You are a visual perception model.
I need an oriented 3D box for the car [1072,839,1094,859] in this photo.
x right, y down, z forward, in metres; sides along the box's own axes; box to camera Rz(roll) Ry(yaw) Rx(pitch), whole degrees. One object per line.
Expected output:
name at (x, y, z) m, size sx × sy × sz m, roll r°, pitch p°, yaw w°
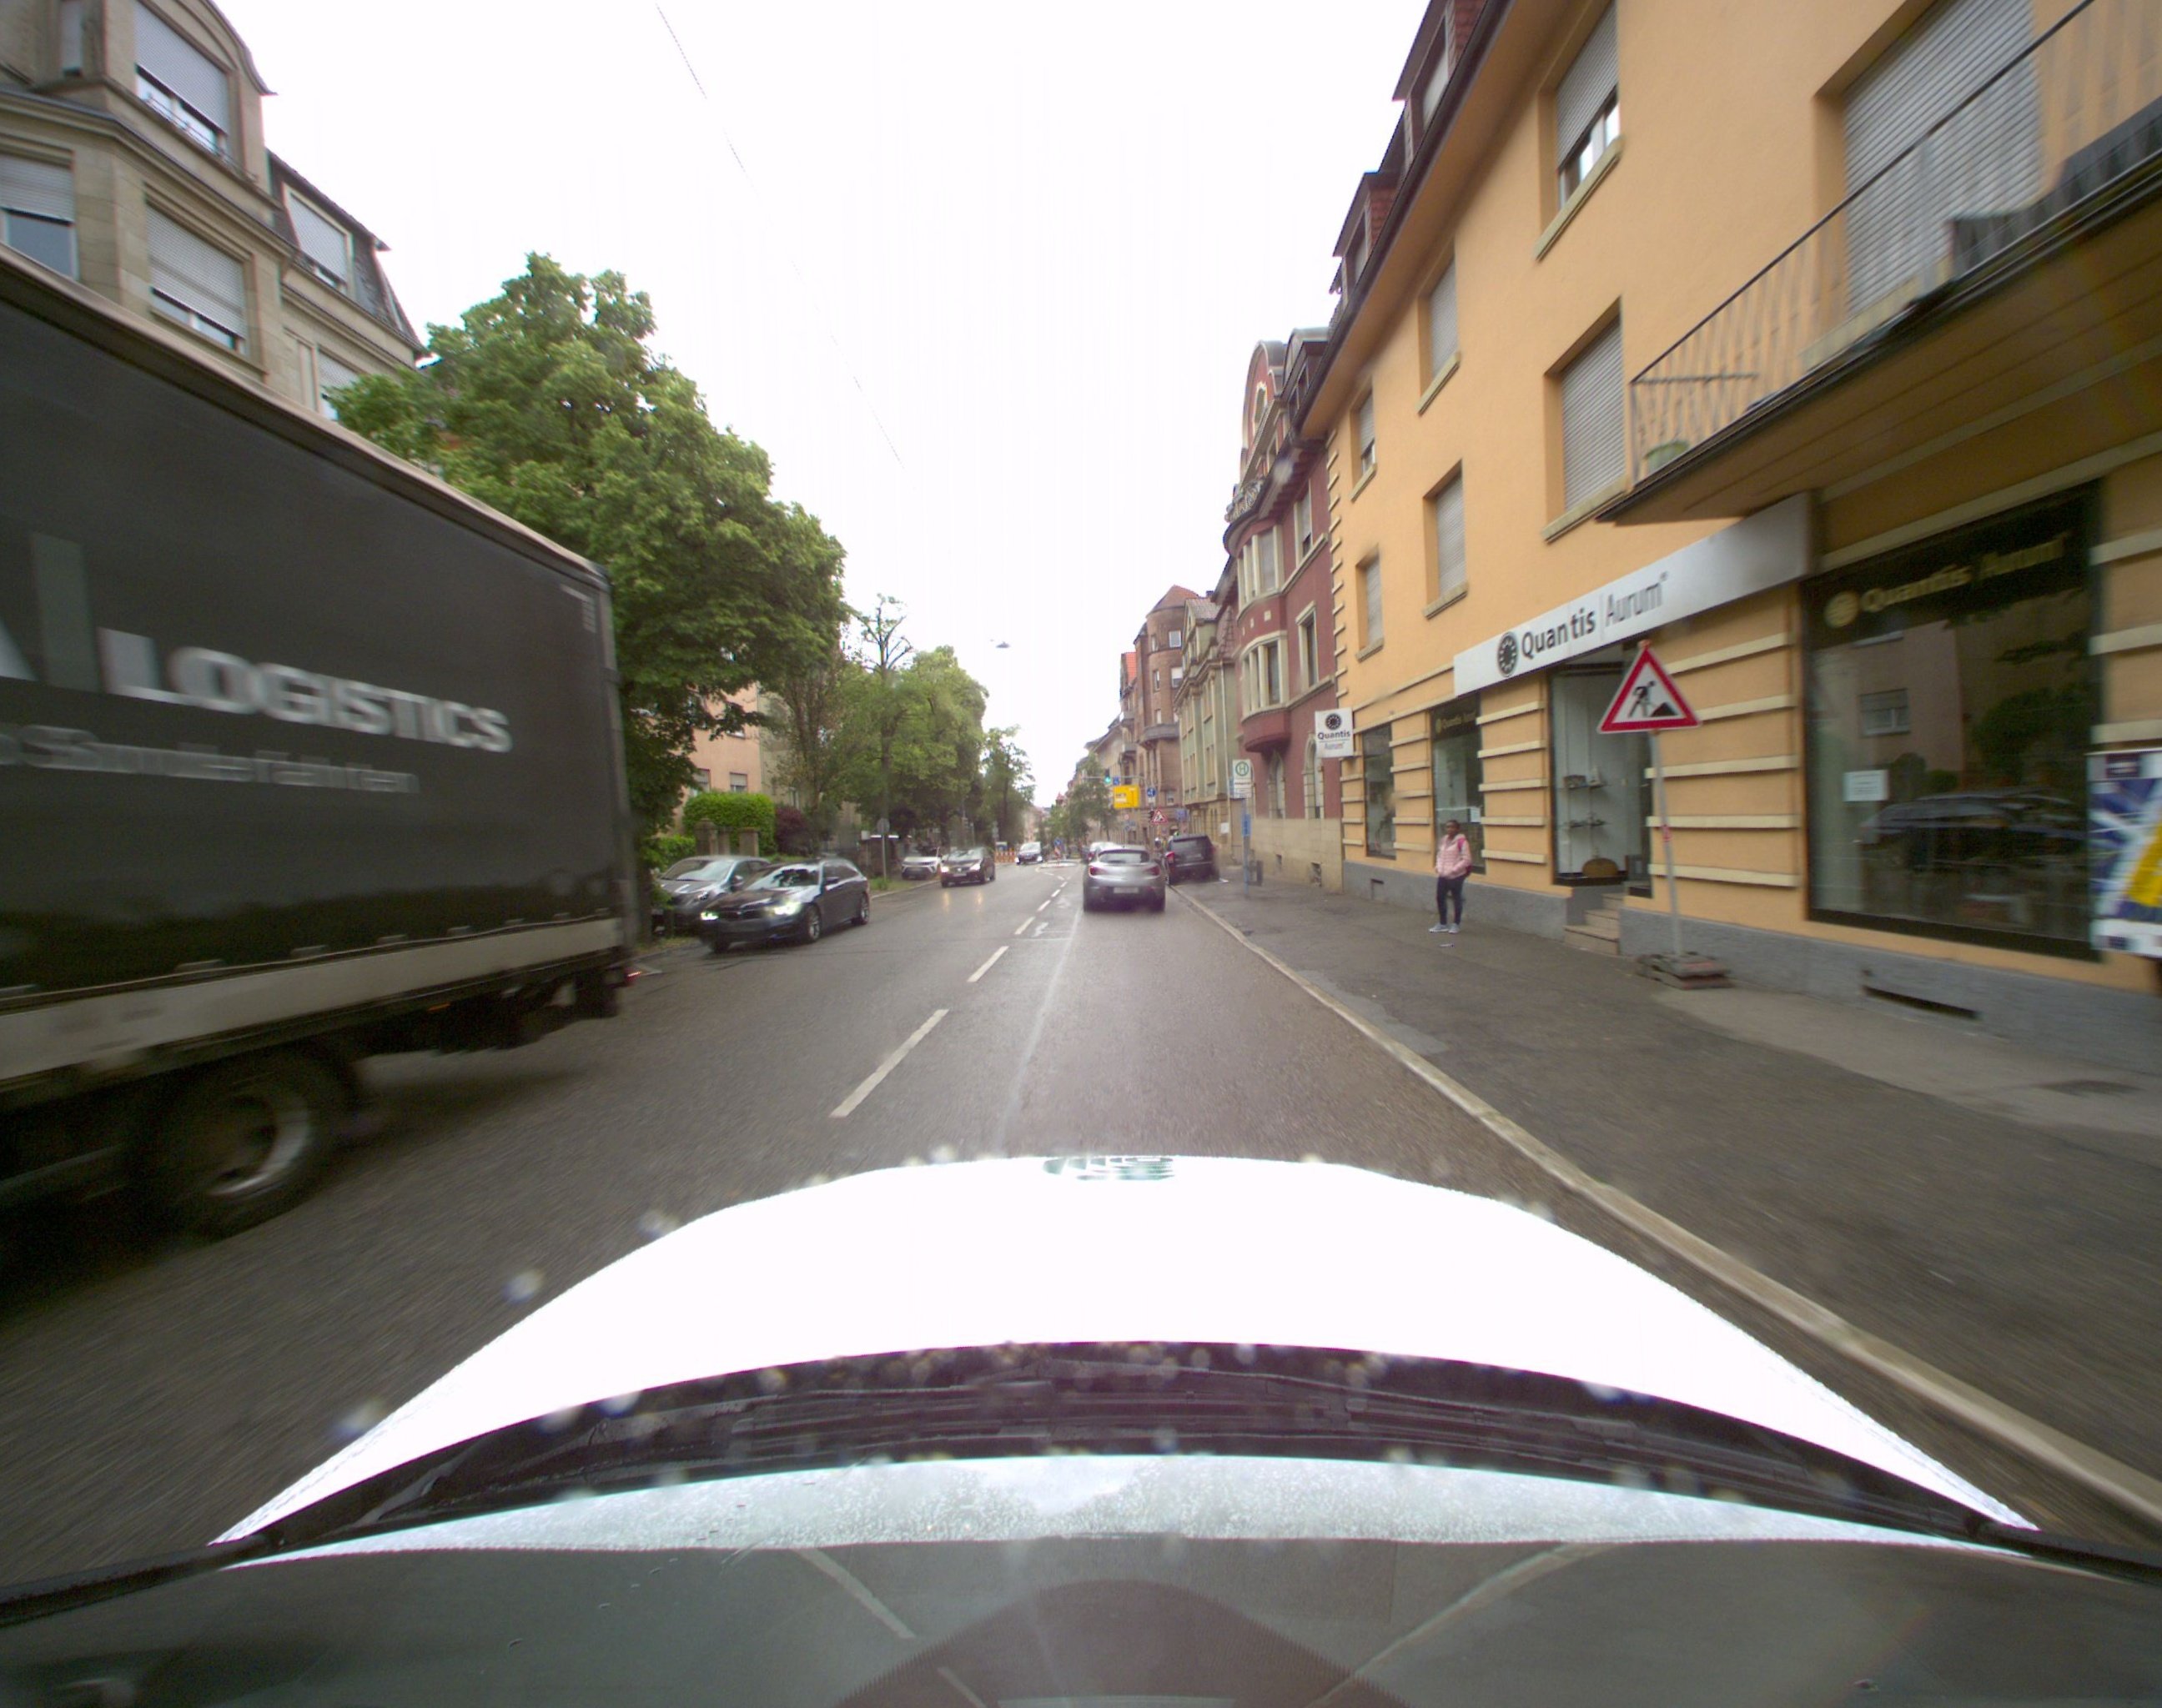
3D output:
car at (0.164, -0.398, 67.443) m, size 1.651 × 1.543 × 3.666 m, roll -5°, pitch 0°, yaw 1°

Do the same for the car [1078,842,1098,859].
car at (0.702, -0.337, 83.577) m, size 1.654 × 1.543 × 3.659 m, roll -5°, pitch -1°, yaw -5°

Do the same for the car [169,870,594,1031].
car at (-8.390, 1.025, 10.431) m, size 1.736 × 1.559 × 4.300 m, roll 1°, pitch 0°, yaw -1°

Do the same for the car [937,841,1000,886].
car at (-4.533, 0.347, 33.509) m, size 1.766 × 1.517 × 4.593 m, roll -3°, pitch 2°, yaw 1°

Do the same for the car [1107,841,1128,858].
car at (3.710, -0.482, 83.779) m, size 1.654 × 1.543 × 3.659 m, roll -5°, pitch -1°, yaw -5°

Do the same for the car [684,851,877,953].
car at (-5.489, 0.776, 15.637) m, size 1.766 × 1.467 × 4.749 m, roll -3°, pitch 1°, yaw 1°

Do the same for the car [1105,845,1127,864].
car at (2.959, 0.044, 69.067) m, size 1.765 × 1.504 × 3.871 m, roll -1°, pitch 0°, yaw 2°

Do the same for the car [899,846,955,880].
car at (-7.476, 0.403, 39.891) m, size 1.734 × 1.559 × 4.305 m, roll -1°, pitch 0°, yaw 2°

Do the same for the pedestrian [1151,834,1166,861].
pedestrian at (5.315, -0.434, 55.808) m, size 0.712 × 1.774 × 0.669 m, roll -4°, pitch 1°, yaw 21°

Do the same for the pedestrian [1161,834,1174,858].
pedestrian at (5.910, -0.552, 55.591) m, size 0.591 × 1.584 × 0.669 m, roll -4°, pitch 1°, yaw 20°

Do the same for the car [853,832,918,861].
car at (-15.718, -0.620, 65.457) m, size 4.627 × 2.048 × 2.035 m, roll 4°, pitch 3°, yaw 16°

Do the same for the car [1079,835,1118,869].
car at (0.907, -0.078, 39.373) m, size 1.765 × 1.504 × 3.871 m, roll -1°, pitch 0°, yaw 2°

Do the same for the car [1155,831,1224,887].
car at (3.702, 0.167, 28.522) m, size 1.869 × 1.629 × 4.700 m, roll -5°, pitch 0°, yaw 2°

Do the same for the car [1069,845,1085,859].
car at (-0.569, -0.243, 104.209) m, size 1.654 × 1.543 × 3.659 m, roll -5°, pitch -1°, yaw -5°

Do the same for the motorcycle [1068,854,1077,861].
motorcycle at (-1.621, 0.617, 151.422) m, size 0.649 × 1.236 × 1.994 m, roll -2°, pitch -2°, yaw 34°

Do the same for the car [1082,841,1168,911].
car at (1.041, 0.462, 19.263) m, size 1.804 × 1.449 × 3.872 m, roll -1°, pitch 0°, yaw 3°

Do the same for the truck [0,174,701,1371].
truck at (-4.776, -0.237, 2.267) m, size 2.638 × 3.854 × 9.309 m, roll -4°, pitch 0°, yaw 1°

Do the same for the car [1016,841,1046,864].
car at (-3.445, -0.134, 56.725) m, size 1.810 × 1.517 × 4.547 m, roll -1°, pitch 1°, yaw 0°

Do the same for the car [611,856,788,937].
car at (-8.250, 0.844, 18.105) m, size 1.734 × 1.559 × 4.305 m, roll -1°, pitch 0°, yaw 2°

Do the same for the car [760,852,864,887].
car at (-12.047, 0.682, 36.671) m, size 3.974 × 1.326 × 1.837 m, roll -3°, pitch 1°, yaw 0°

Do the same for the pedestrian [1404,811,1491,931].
pedestrian at (5.130, 0.230, 11.421) m, size 0.768 × 1.589 × 0.708 m, roll -3°, pitch 0°, yaw -17°
